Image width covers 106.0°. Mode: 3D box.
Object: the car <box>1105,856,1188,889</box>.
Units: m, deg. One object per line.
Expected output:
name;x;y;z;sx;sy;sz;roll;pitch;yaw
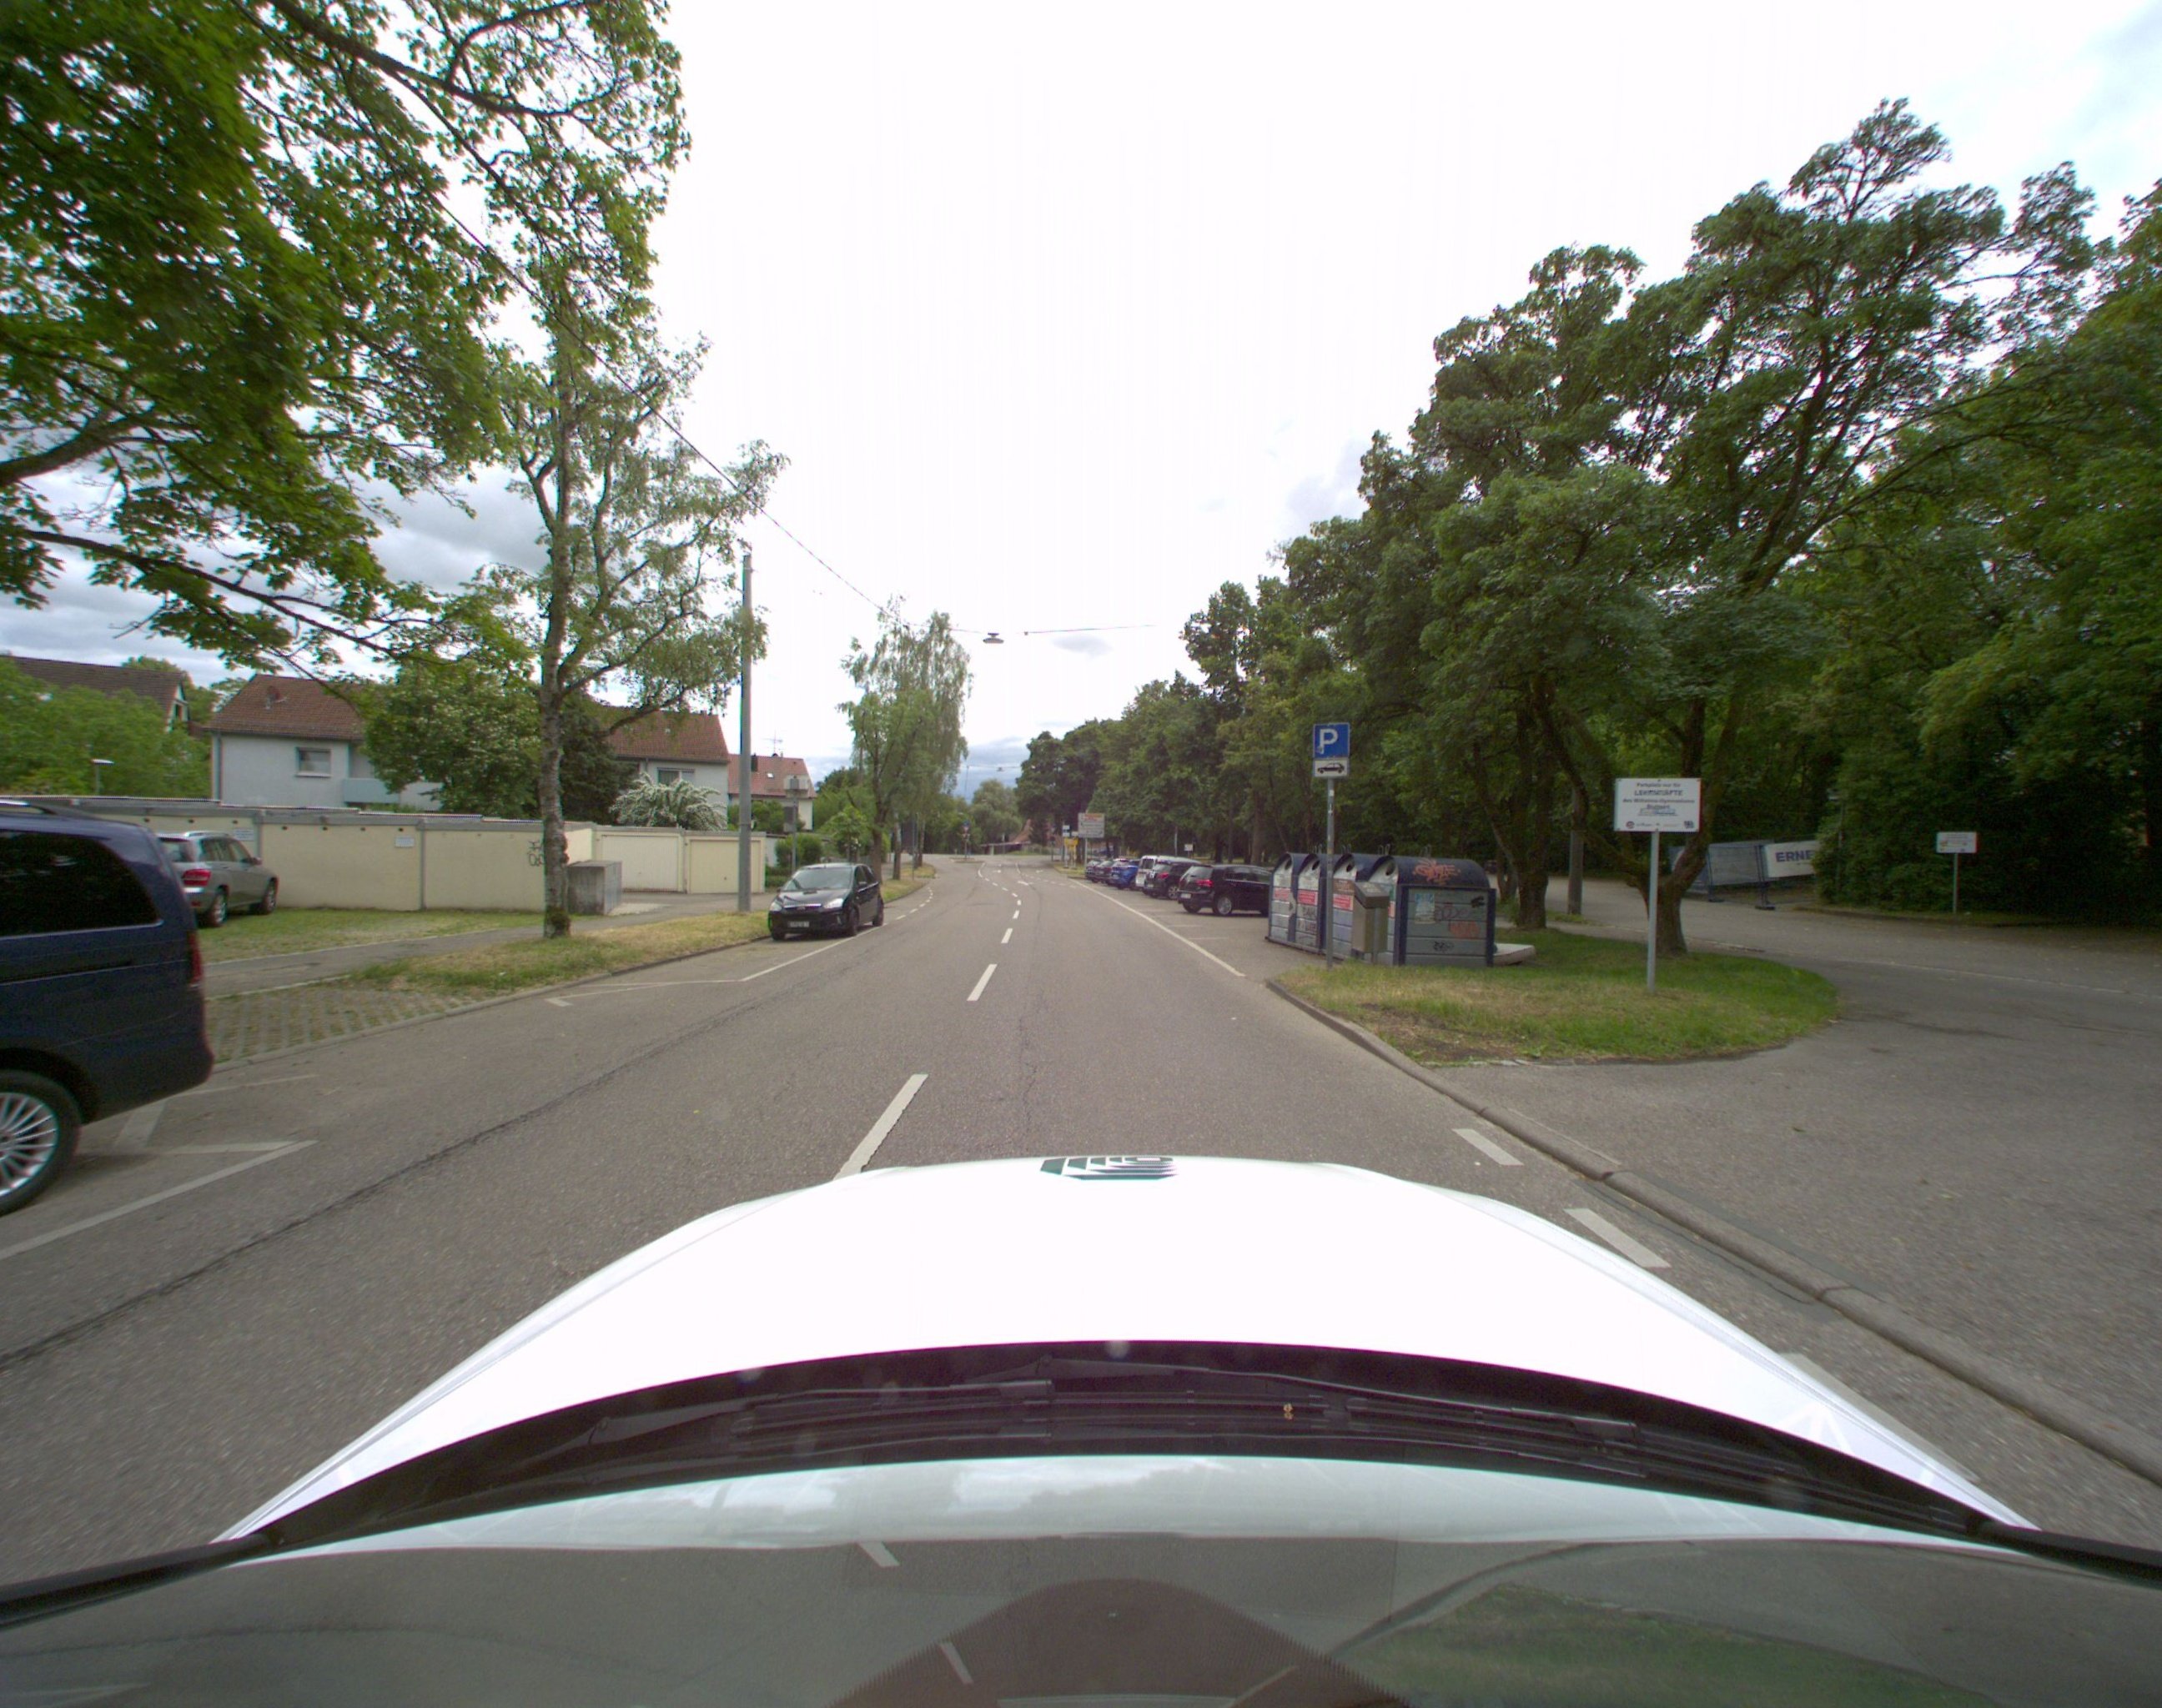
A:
car;3.381;0.963;42.056;3.836;1.528;1.733;3;-2;-24

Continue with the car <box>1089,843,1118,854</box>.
car;3.444;-0.886;124.785;3.864;1.647;1.983;0;1;-26

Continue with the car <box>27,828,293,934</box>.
car;-16.632;0.414;15.056;2.007;1.650;4.360;4;-1;-32

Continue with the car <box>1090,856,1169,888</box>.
car;2.625;0.965;43.989;3.836;1.528;1.733;3;-2;-24

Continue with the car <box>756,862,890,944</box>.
car;-5.719;1.014;18.630;1.800;1.563;4.262;-3;0;-3

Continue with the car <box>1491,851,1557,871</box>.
car;33.082;0.524;60.821;3.972;1.409;1.800;0;0;1

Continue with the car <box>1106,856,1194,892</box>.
car;3.305;0.954;39.138;3.836;1.528;1.733;3;-2;-24

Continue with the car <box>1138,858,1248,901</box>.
car;4.358;0.994;31.653;3.836;1.468;1.733;3;0;-24

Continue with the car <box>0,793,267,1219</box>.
car;-5.821;0.674;2.277;1.851;1.909;5.084;0;0;2

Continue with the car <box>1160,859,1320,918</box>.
car;4.542;0.982;23.364;4.004;1.414;2.042;3;1;-24

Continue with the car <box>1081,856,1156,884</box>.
car;2.168;0.933;47.111;3.890;1.426;1.816;3;-2;-24

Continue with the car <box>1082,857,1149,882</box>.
car;2.185;0.979;51.911;3.836;1.425;1.733;3;-2;-24

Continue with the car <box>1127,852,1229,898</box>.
car;4.107;0.874;34.400;3.836;1.720;1.863;3;-1;-24
